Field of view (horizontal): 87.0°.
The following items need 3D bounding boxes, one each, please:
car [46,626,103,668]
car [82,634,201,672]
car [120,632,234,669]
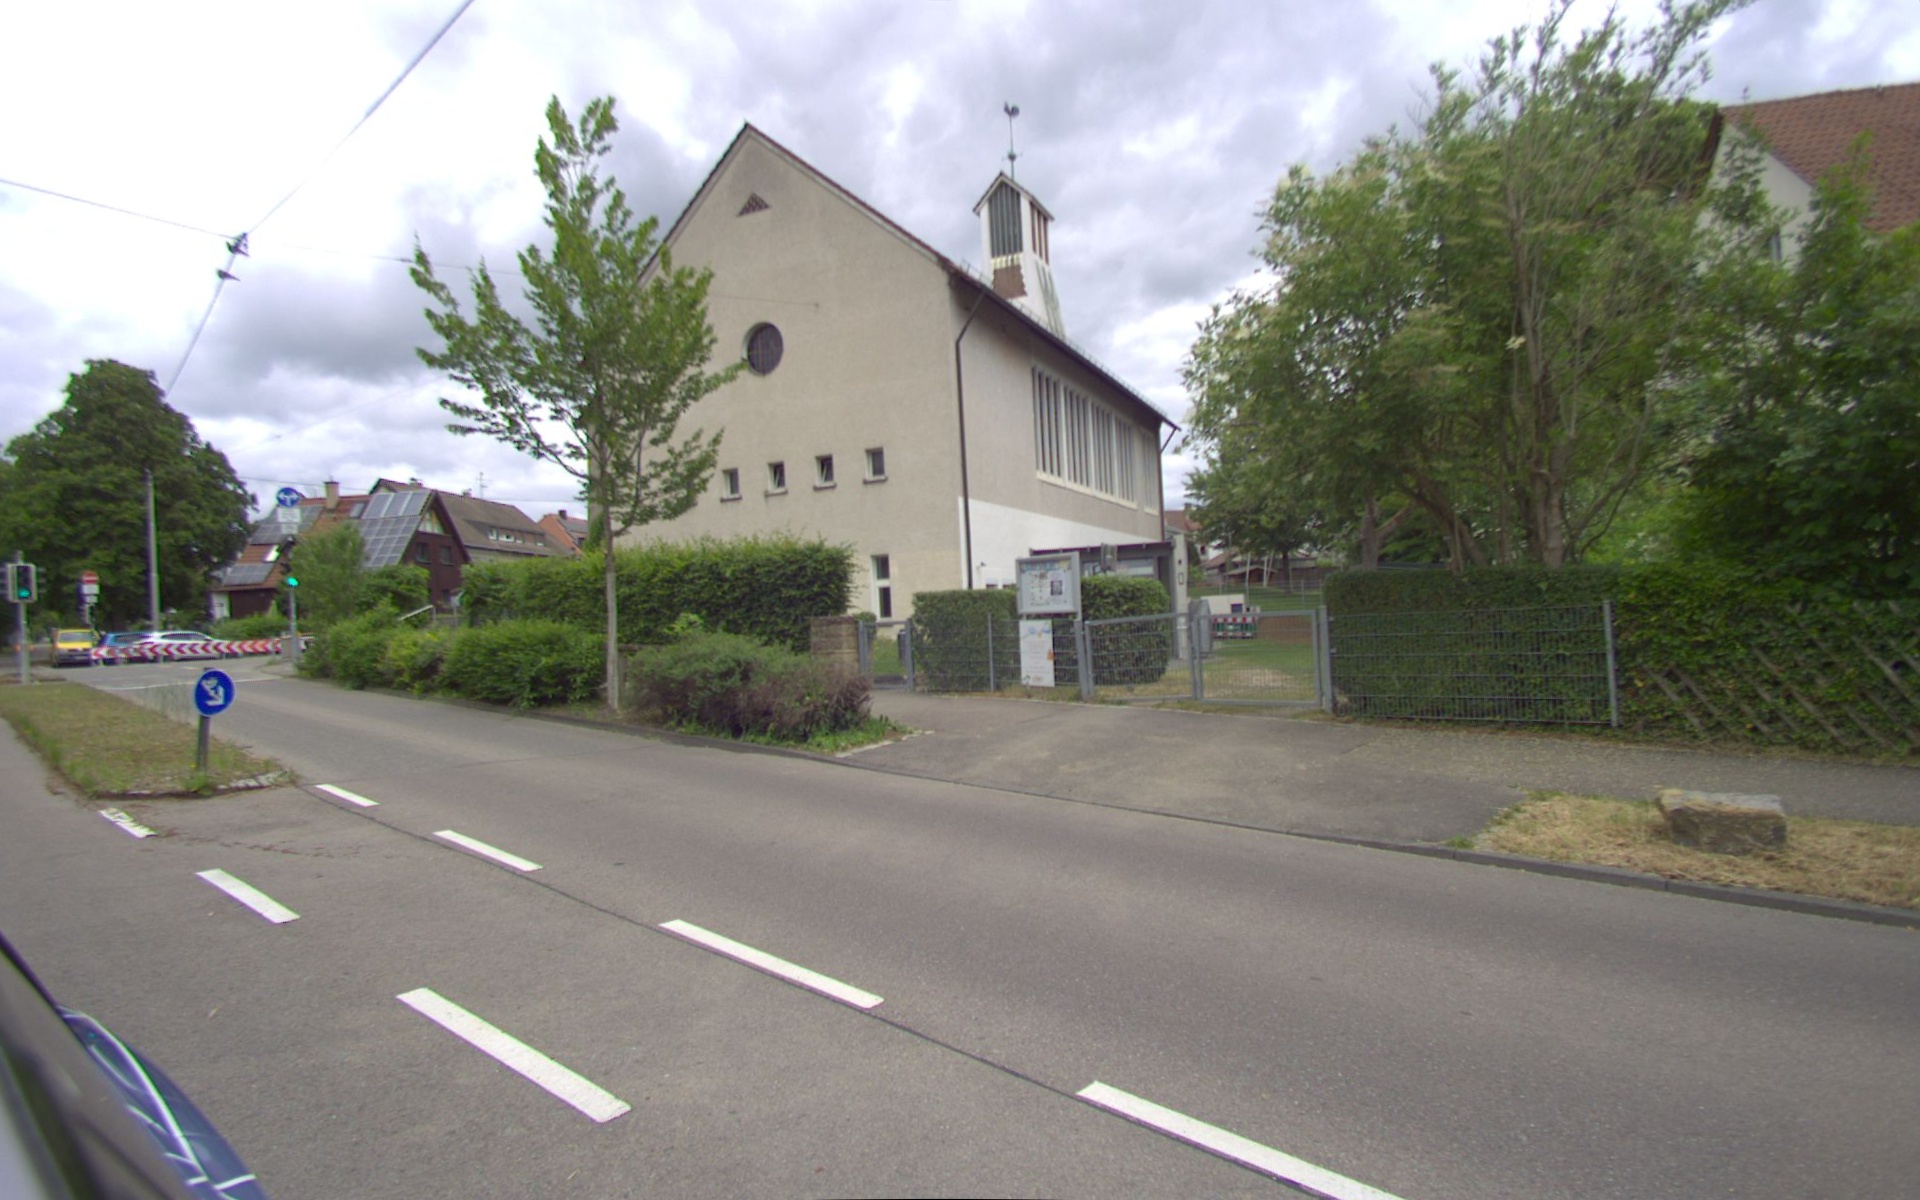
[{"bbox_3d":[-46.131,2.429,52.676,4.802,2.004,1.895,-3,-1,45],"label":"car"},{"bbox_3d":[-39.148,2.510,48.464,1.844,1.558,4.123,-4,-2,40],"label":"car"},{"bbox_3d":[-36.714,2.339,47.533,1.839,1.483,3.862,-4,-2,32],"label":"car"}]
